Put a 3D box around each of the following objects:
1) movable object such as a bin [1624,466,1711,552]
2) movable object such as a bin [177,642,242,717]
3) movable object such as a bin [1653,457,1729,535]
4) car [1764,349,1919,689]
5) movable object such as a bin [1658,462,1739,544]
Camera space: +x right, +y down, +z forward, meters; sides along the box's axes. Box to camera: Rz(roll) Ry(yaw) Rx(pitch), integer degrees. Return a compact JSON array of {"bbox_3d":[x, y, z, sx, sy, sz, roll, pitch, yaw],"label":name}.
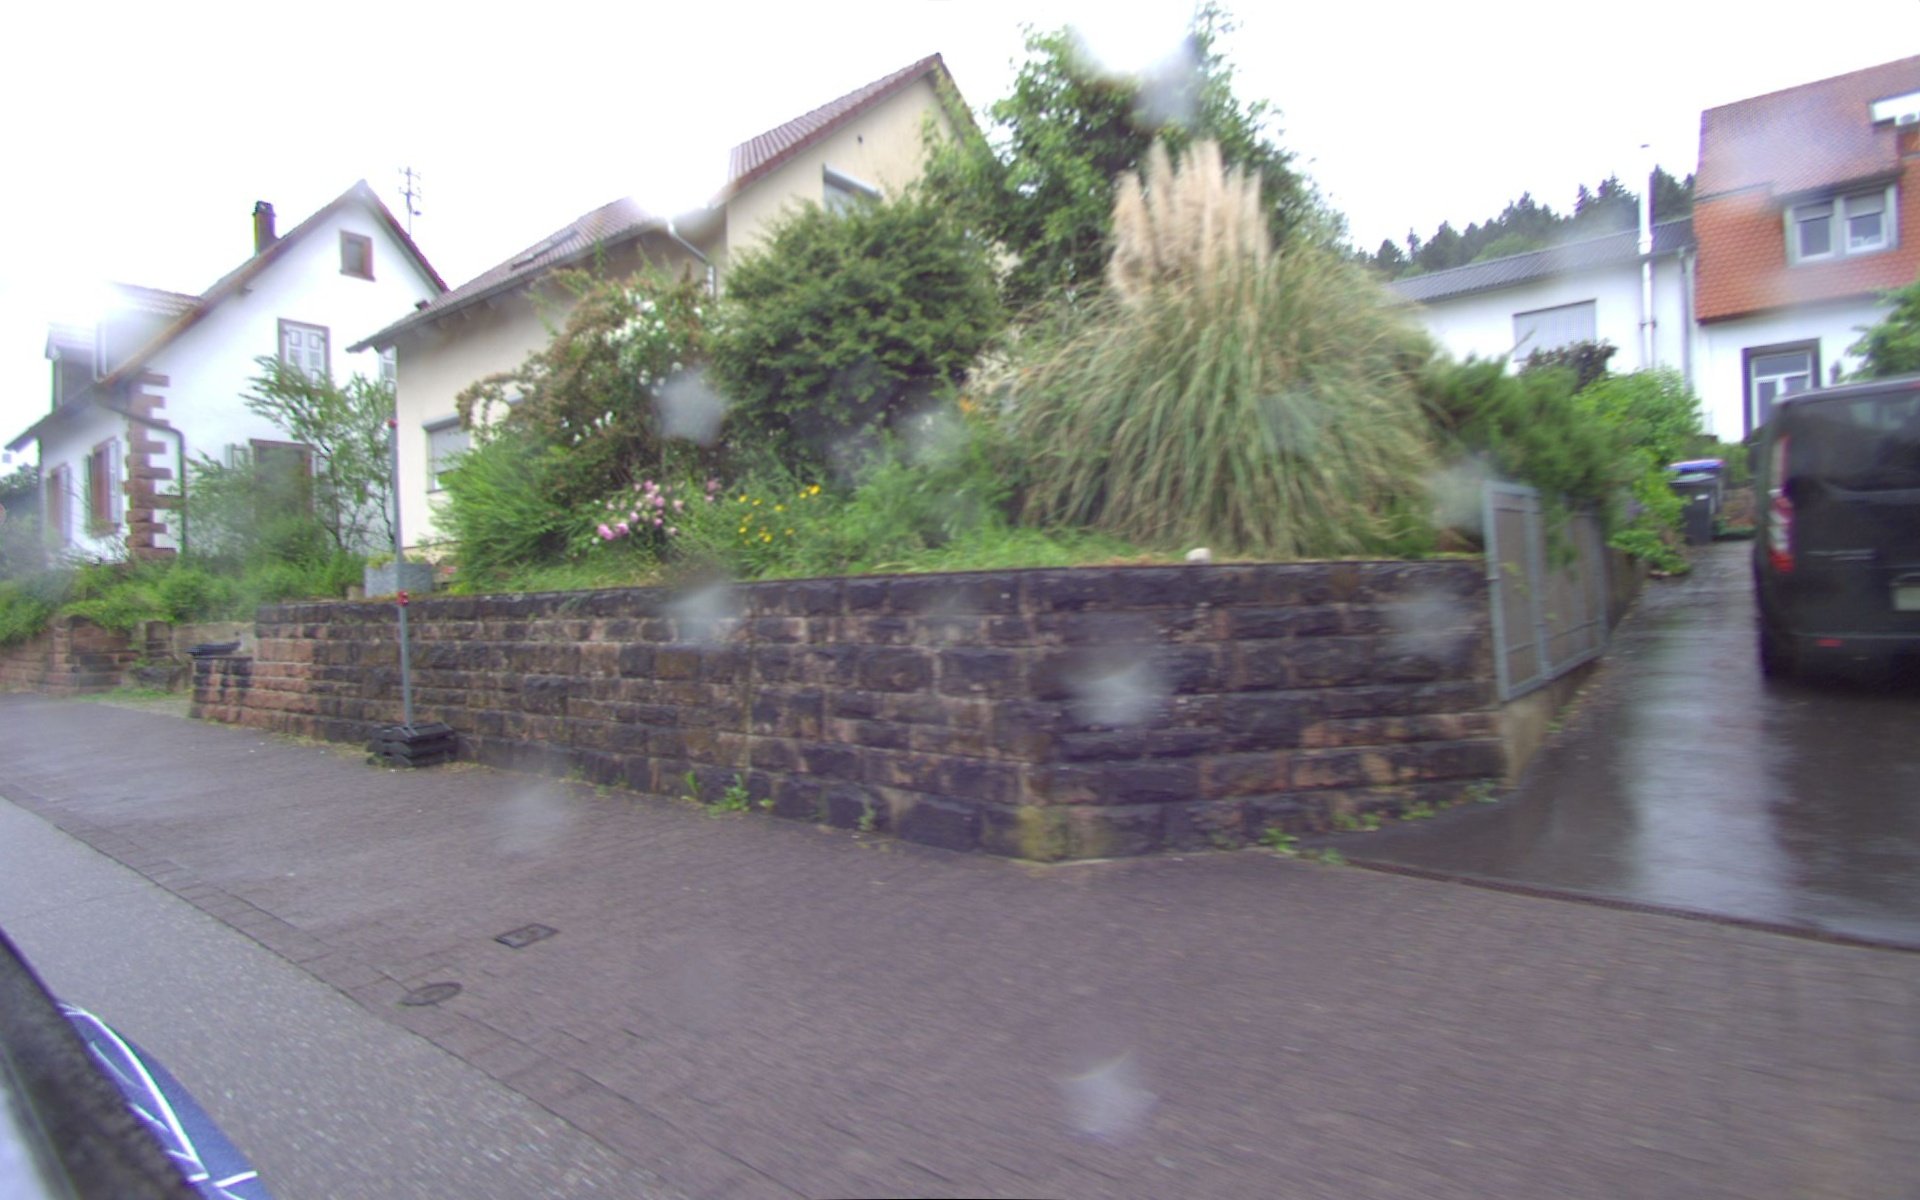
[{"bbox_3d":[9.227,-1.185,13.190,0.831,1.044,0.823,-1,5,41],"label":"movable object such as a bin"},{"bbox_3d":[-10.028,1.050,13.522,0.543,0.937,0.533,-1,1,35],"label":"movable object such as a bin"},{"bbox_3d":[10.701,-1.503,14.817,0.831,1.044,0.822,-1,2,41],"label":"movable object such as a bin"},{"bbox_3d":[7.043,-0.767,7.163,1.999,1.978,3.951,-1,8,40],"label":"car"},{"bbox_3d":[10.170,-1.329,13.934,0.831,1.044,0.823,-1,4,41],"label":"movable object such as a bin"}]
